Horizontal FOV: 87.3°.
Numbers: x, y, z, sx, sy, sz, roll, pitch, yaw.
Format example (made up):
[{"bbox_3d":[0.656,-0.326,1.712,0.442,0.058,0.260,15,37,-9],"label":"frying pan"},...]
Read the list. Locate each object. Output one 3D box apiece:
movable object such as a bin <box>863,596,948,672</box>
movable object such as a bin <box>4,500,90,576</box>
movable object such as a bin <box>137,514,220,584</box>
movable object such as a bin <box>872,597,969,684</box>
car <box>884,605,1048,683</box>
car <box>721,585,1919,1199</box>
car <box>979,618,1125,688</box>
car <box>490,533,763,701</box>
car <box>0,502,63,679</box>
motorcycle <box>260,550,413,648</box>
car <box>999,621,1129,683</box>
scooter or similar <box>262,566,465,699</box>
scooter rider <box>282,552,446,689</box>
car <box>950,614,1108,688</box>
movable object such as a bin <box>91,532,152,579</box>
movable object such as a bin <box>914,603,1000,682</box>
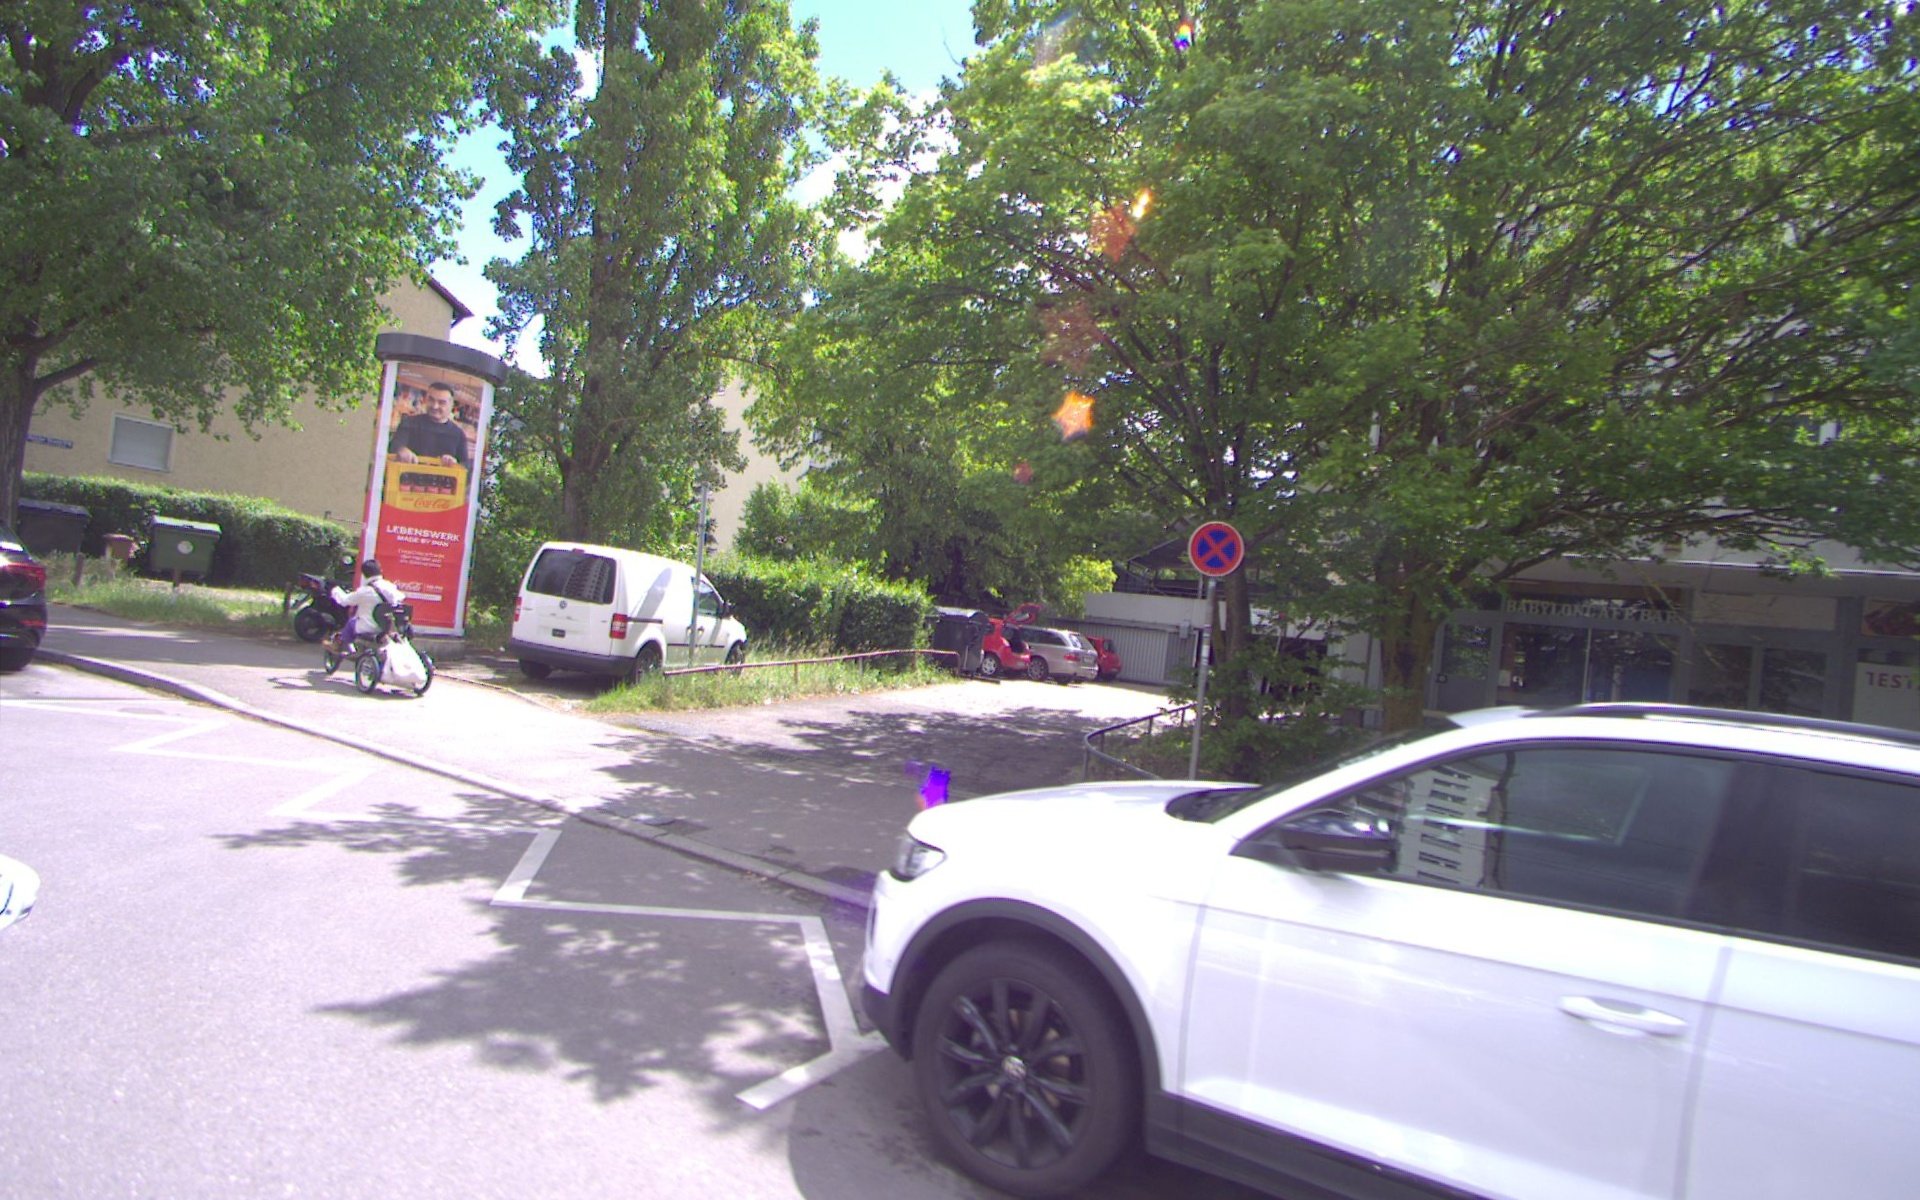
[{"bbox_3d":[-1.177,0.735,21.766,1.264,1.447,1.116,8,0,31],"label":"movable object such as a bin"},{"bbox_3d":[-19.744,-1.325,21.766,0.749,1.456,1.099,8,0,32],"label":"movable object such as a bin"},{"bbox_3d":[-18.526,-1.198,23.861,1.040,1.456,1.170,8,0,32],"label":"movable object such as a bin"},{"bbox_3d":[-0.736,0.766,18.949,1.264,1.447,1.116,8,0,31],"label":"movable object such as a bin"},{"bbox_3d":[0.124,1.152,26.668,3.938,1.461,1.744,7,0,36],"label":"car"},{"bbox_3d":[1.717,1.055,2.823,4.491,1.584,1.787,7,0,29],"label":"car"},{"bbox_3d":[2.788,1.621,30.795,3.935,1.547,1.745,7,0,34],"label":"car"},{"bbox_3d":[-4.505,0.269,14.319,1.776,1.845,4.002,7,0,11],"label":"car"},{"bbox_3d":[-9.984,-0.313,8.975,3.762,1.466,1.818,7,0,31],"label":"car"},{"bbox_3d":[-8.799,0.018,14.296,0.698,1.225,1.802,7,0,12],"label":"motorcycle"},{"bbox_3d":[3.547,1.772,34.492,3.935,1.547,1.745,7,0,34],"label":"car"},{"bbox_3d":[-6.291,0.328,10.579,2.079,1.077,0.891,8,1,32],"label":"scooter or similar"},{"bbox_3d":[-6.247,0.222,10.553,1.260,1.235,0.886,8,1,32],"label":"scooter rider"},{"bbox_3d":[1.899,1.407,28.108,3.935,1.488,1.745,7,0,34],"label":"car"},{"bbox_3d":[-19.113,-1.011,22.943,0.749,0.927,0.803,8,0,32],"label":"movable object such as a bin"},{"bbox_3d":[-0.056,0.899,21.083,1.264,1.447,1.116,8,0,31],"label":"movable object such as a bin"}]
